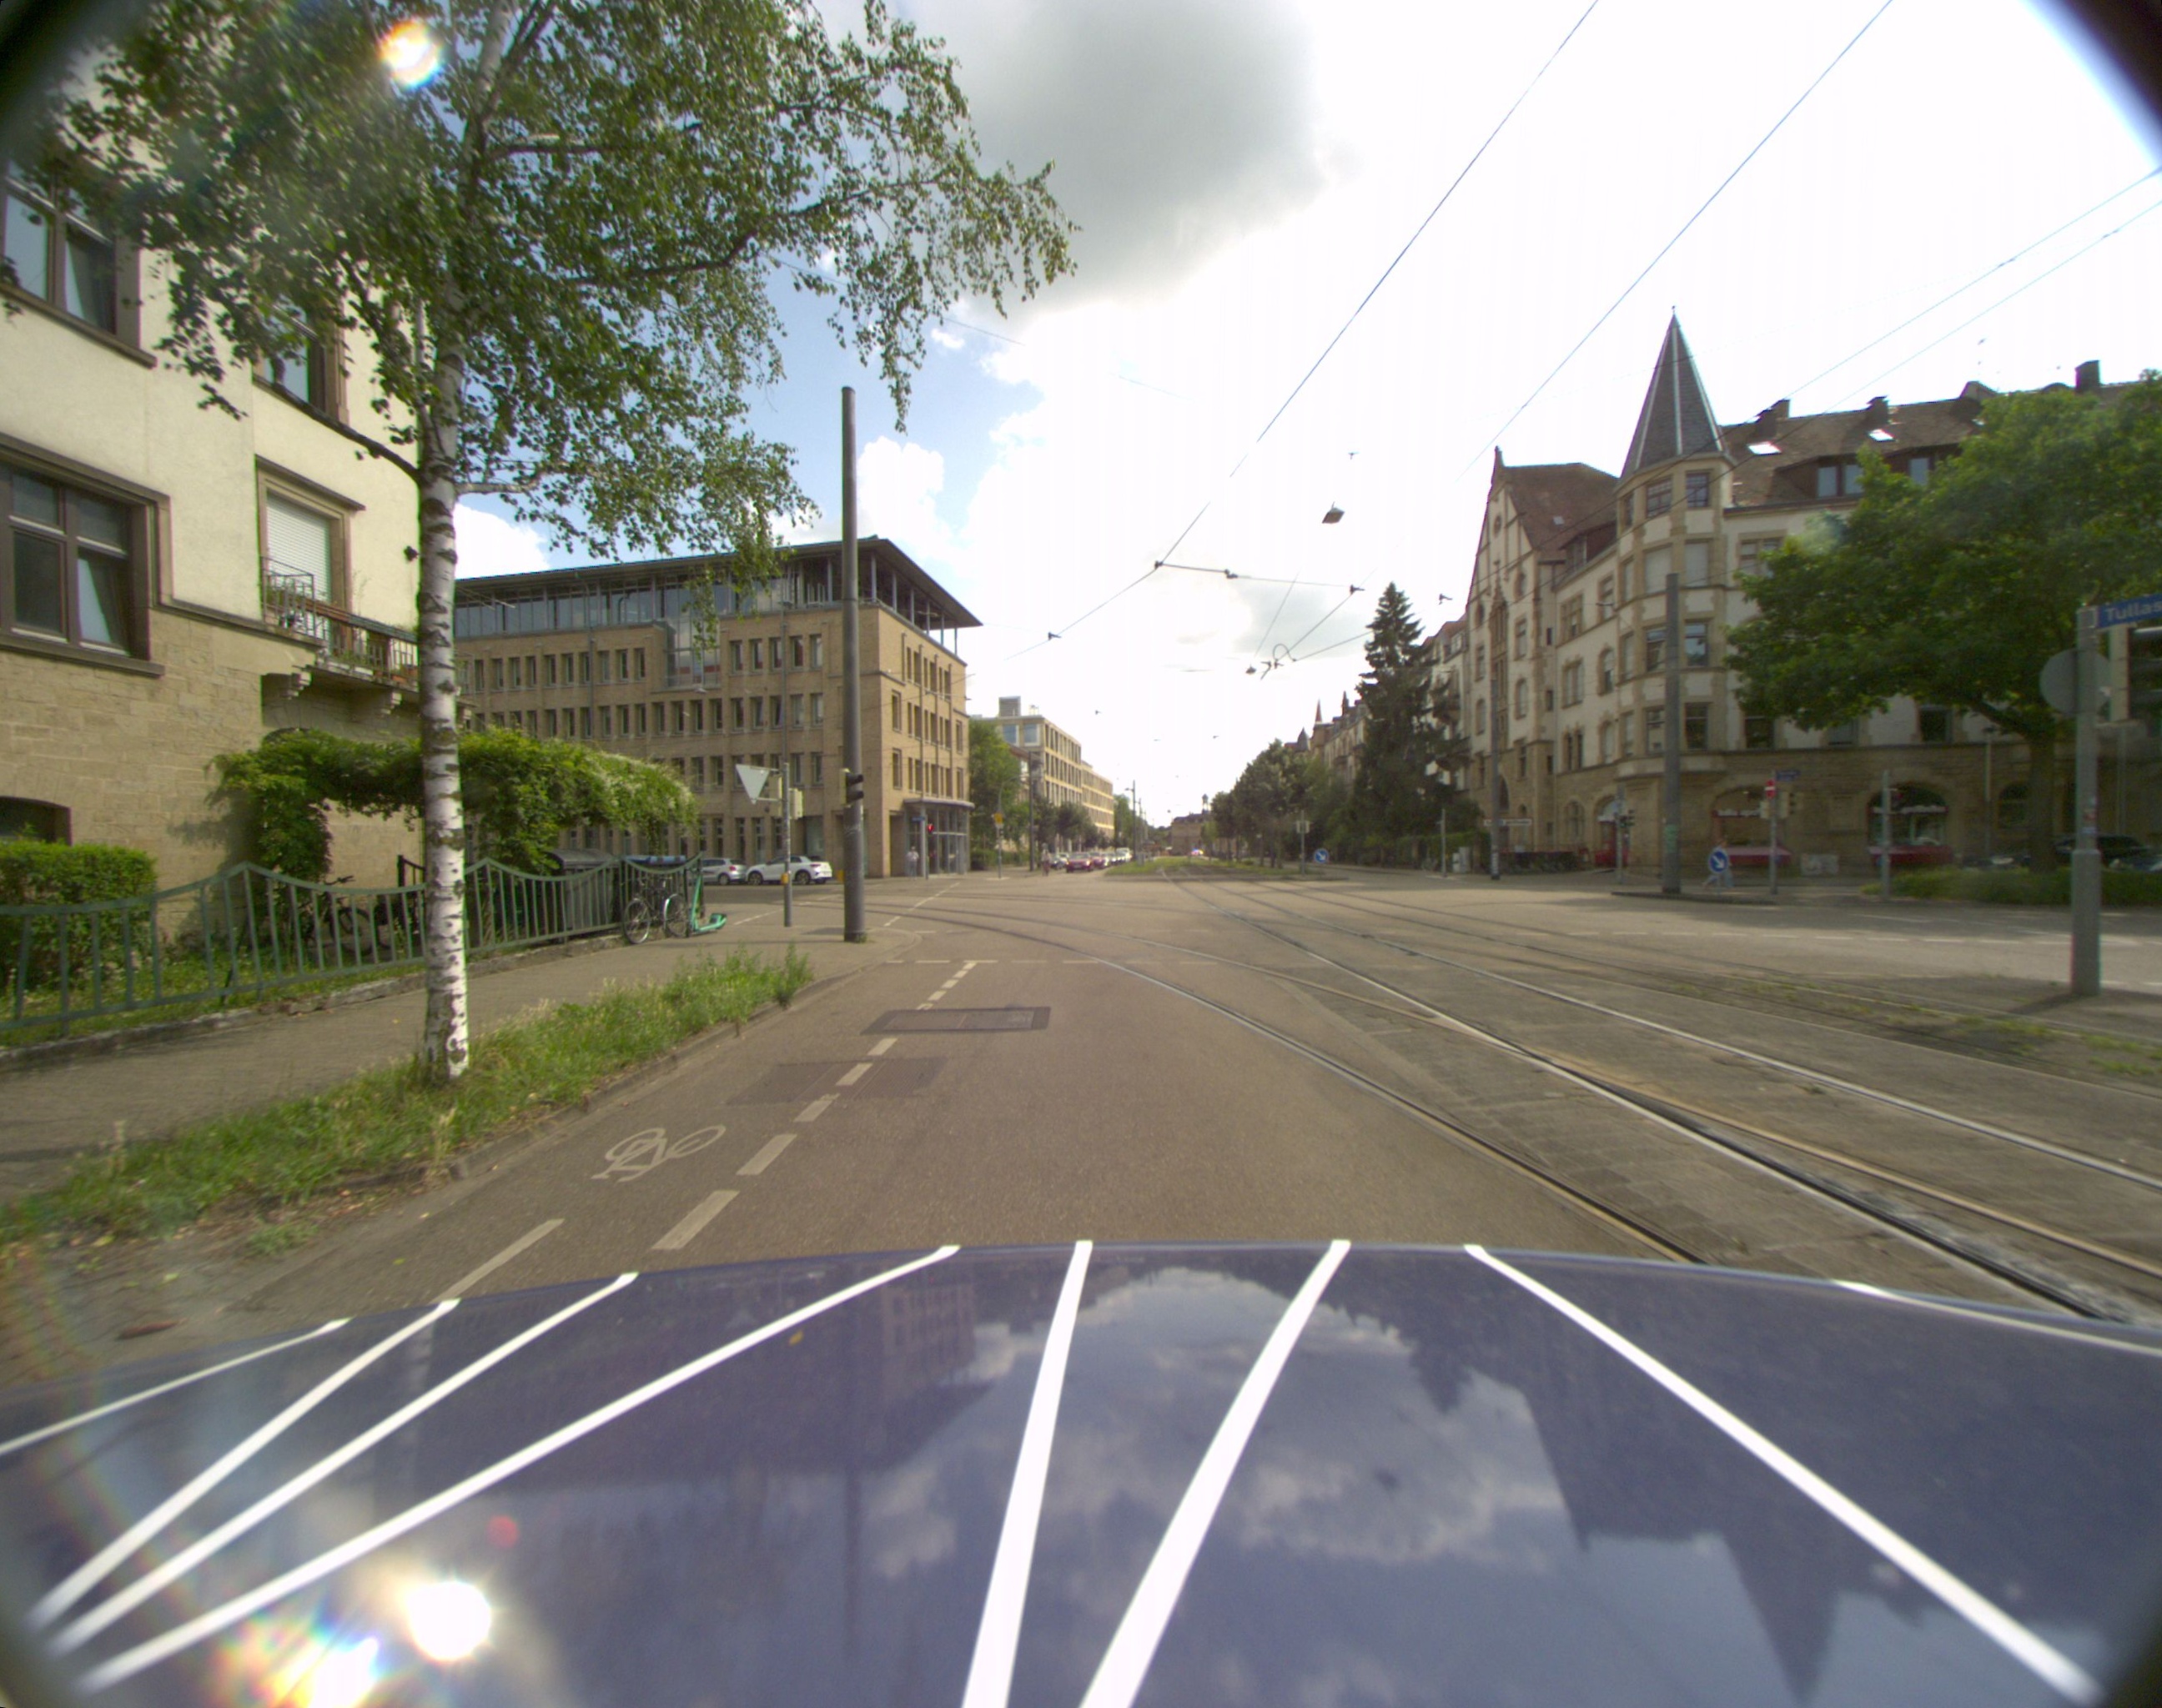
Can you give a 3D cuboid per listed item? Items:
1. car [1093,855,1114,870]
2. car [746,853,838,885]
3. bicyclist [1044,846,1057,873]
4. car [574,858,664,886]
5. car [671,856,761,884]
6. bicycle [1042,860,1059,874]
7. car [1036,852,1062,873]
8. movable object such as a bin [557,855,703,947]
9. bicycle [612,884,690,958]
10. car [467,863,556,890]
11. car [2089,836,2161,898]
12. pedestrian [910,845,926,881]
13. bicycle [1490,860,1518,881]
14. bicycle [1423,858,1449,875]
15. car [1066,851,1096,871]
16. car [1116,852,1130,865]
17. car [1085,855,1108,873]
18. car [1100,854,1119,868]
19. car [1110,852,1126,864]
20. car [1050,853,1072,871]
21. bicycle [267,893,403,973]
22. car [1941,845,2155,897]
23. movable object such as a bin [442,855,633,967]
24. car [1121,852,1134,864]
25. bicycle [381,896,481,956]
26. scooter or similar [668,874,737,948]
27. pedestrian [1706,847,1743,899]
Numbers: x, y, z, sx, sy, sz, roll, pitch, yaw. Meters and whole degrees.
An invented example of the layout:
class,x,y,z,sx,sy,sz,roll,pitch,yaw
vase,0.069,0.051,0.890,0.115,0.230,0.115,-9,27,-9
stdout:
class,x,y,z,sx,sy,sz,roll,pitch,yaw
car,2.129,0.770,70.333,1.619,1.265,4.001,-2,0,5
car,-14.495,0.736,38.177,3.993,1.538,1.678,-1,0,12
bicyclist,-1.941,0.368,47.881,0.665,1.679,0.857,0,1,7
car,-24.468,0.940,40.306,3.993,1.414,1.678,-1,-1,12
car,-18.754,0.830,39.084,3.993,1.414,1.678,-1,-1,12
bicycle,-1.932,0.816,47.856,0.771,0.885,1.892,-1,0,7
car,-2.648,0.691,64.049,1.998,1.730,4.000,-1,0,0
movable object such as a bin,-7.813,0.770,13.332,1.305,1.483,2.000,0,0,2
bicycle,-6.795,1.027,12.071,0.350,1.016,1.481,2,1,1
car,-31.209,1.218,41.649,3.993,1.414,1.678,-1,-1,12
car,33.632,0.369,22.648,3.993,1.811,2.001,0,1,10
pedestrian,-8.655,0.464,40.295,0.737,1.832,0.806,-1,1,-14
bicycle,21.231,0.832,38.186,0.591,0.967,1.629,-1,2,5
bicycle,21.001,0.716,45.038,0.625,0.966,2.336,-1,0,5
car,0.043,0.465,54.325,1.740,1.313,4.001,-3,0,5
car,5.336,0.590,96.837,1.579,1.549,4.001,-1,0,5
car,1.298,0.798,61.960,1.619,1.265,4.001,-2,0,5
car,2.925,0.693,77.205,1.619,1.265,4.001,-2,0,5
car,4.121,0.444,84.113,1.619,1.265,4.001,-2,0,5
car,-1.868,0.756,72.655,1.835,1.674,4.000,-1,0,1
bicycle,-9.813,1.026,10.014,1.315,0.996,0.453,-1,1,0
car,32.425,0.534,25.621,4.261,1.675,2.001,0,1,7
movable object such as a bin,-7.872,0.772,11.183,1.305,1.483,2.000,0,0,2
car,6.432,0.596,104.912,1.645,1.610,3.714,-1,0,5
bicycle,-10.278,1.124,12.030,1.169,0.895,0.453,-1,1,0
scooter or similar,-6.475,0.947,13.060,0.521,1.172,1.188,2,1,3
pedestrian,21.808,0.620,25.761,0.932,1.730,0.771,0,1,37
